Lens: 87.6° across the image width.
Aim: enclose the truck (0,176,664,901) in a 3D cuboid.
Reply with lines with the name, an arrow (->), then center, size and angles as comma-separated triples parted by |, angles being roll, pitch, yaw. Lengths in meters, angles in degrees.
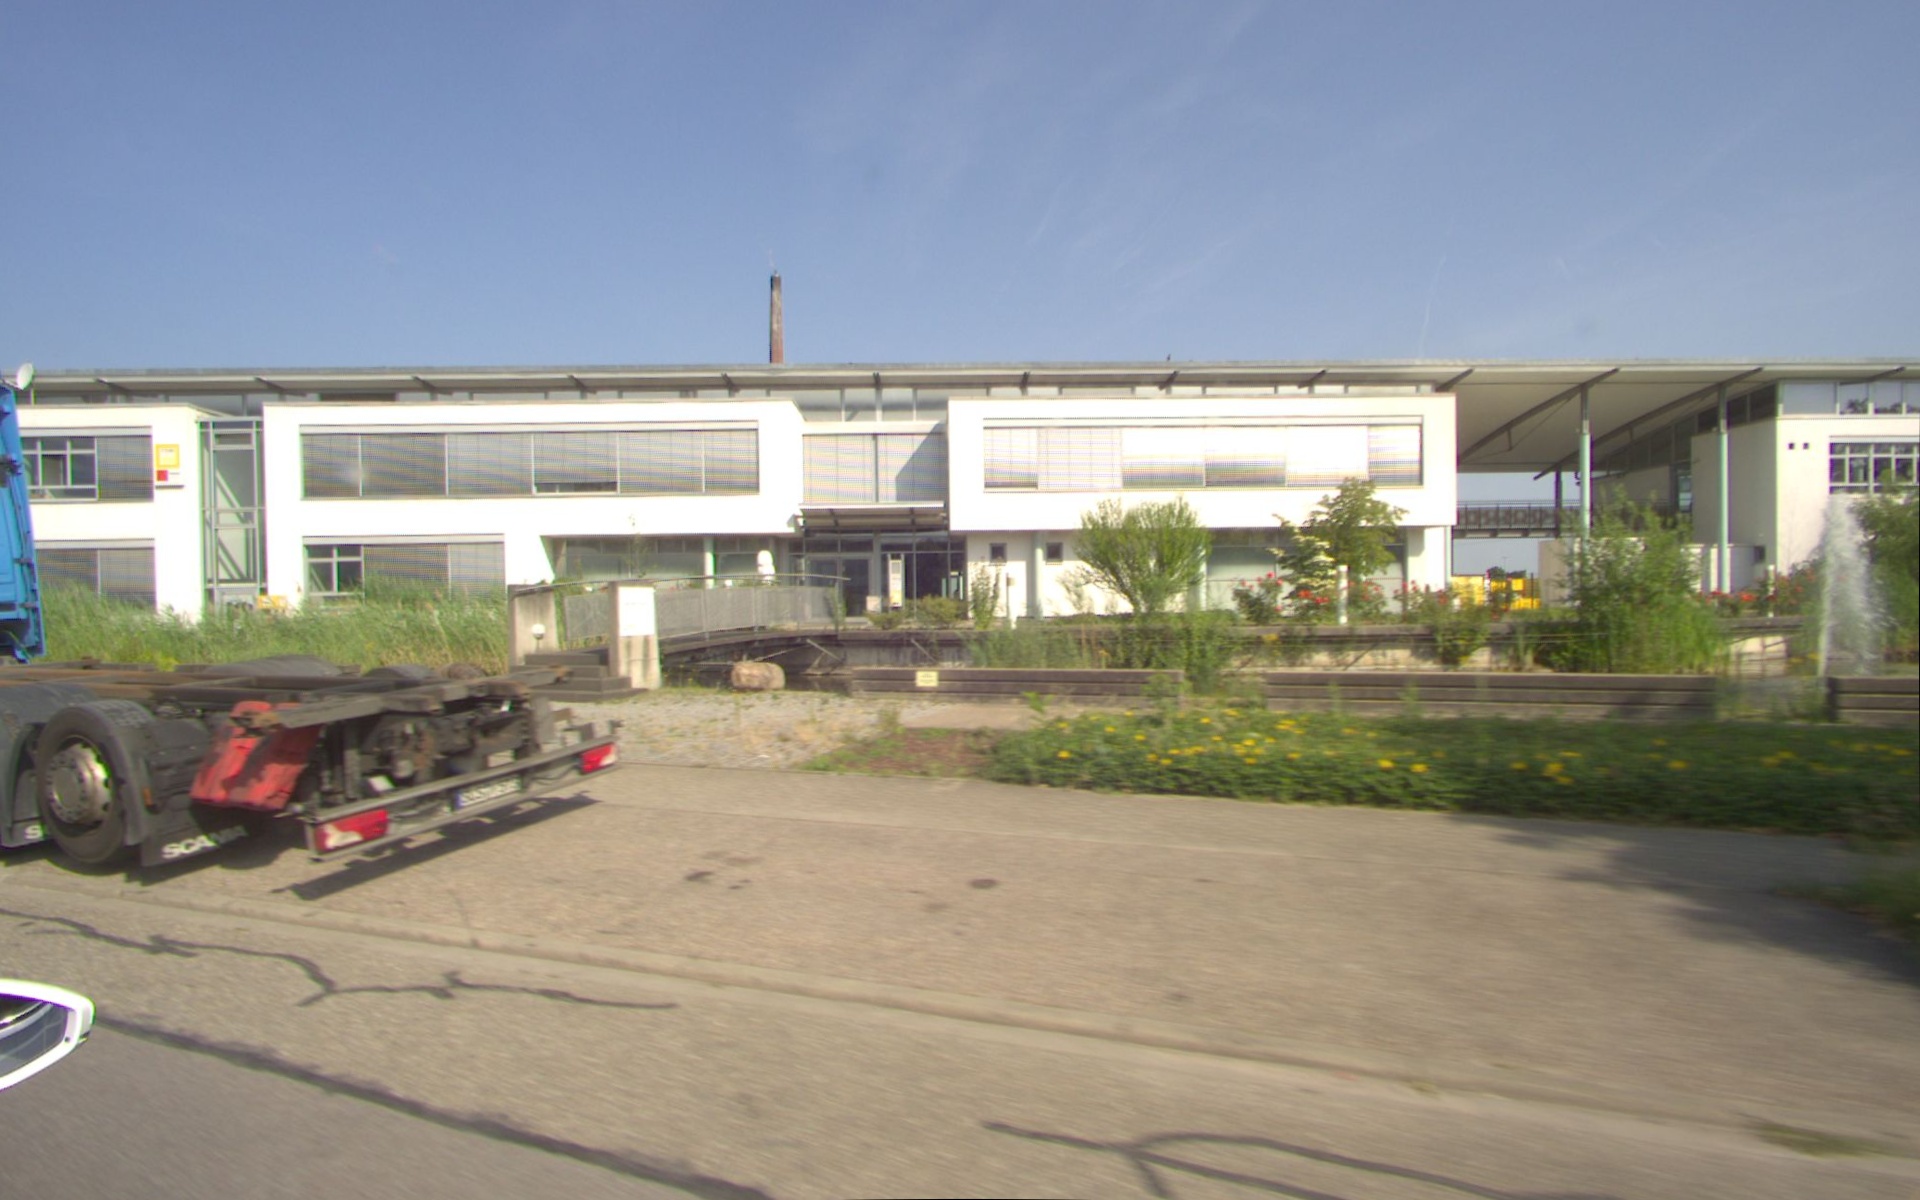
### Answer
truck -> -7.342, -0.199, 8.076 | 9.589, 3.584, 2.888 | -2, 3, 22
